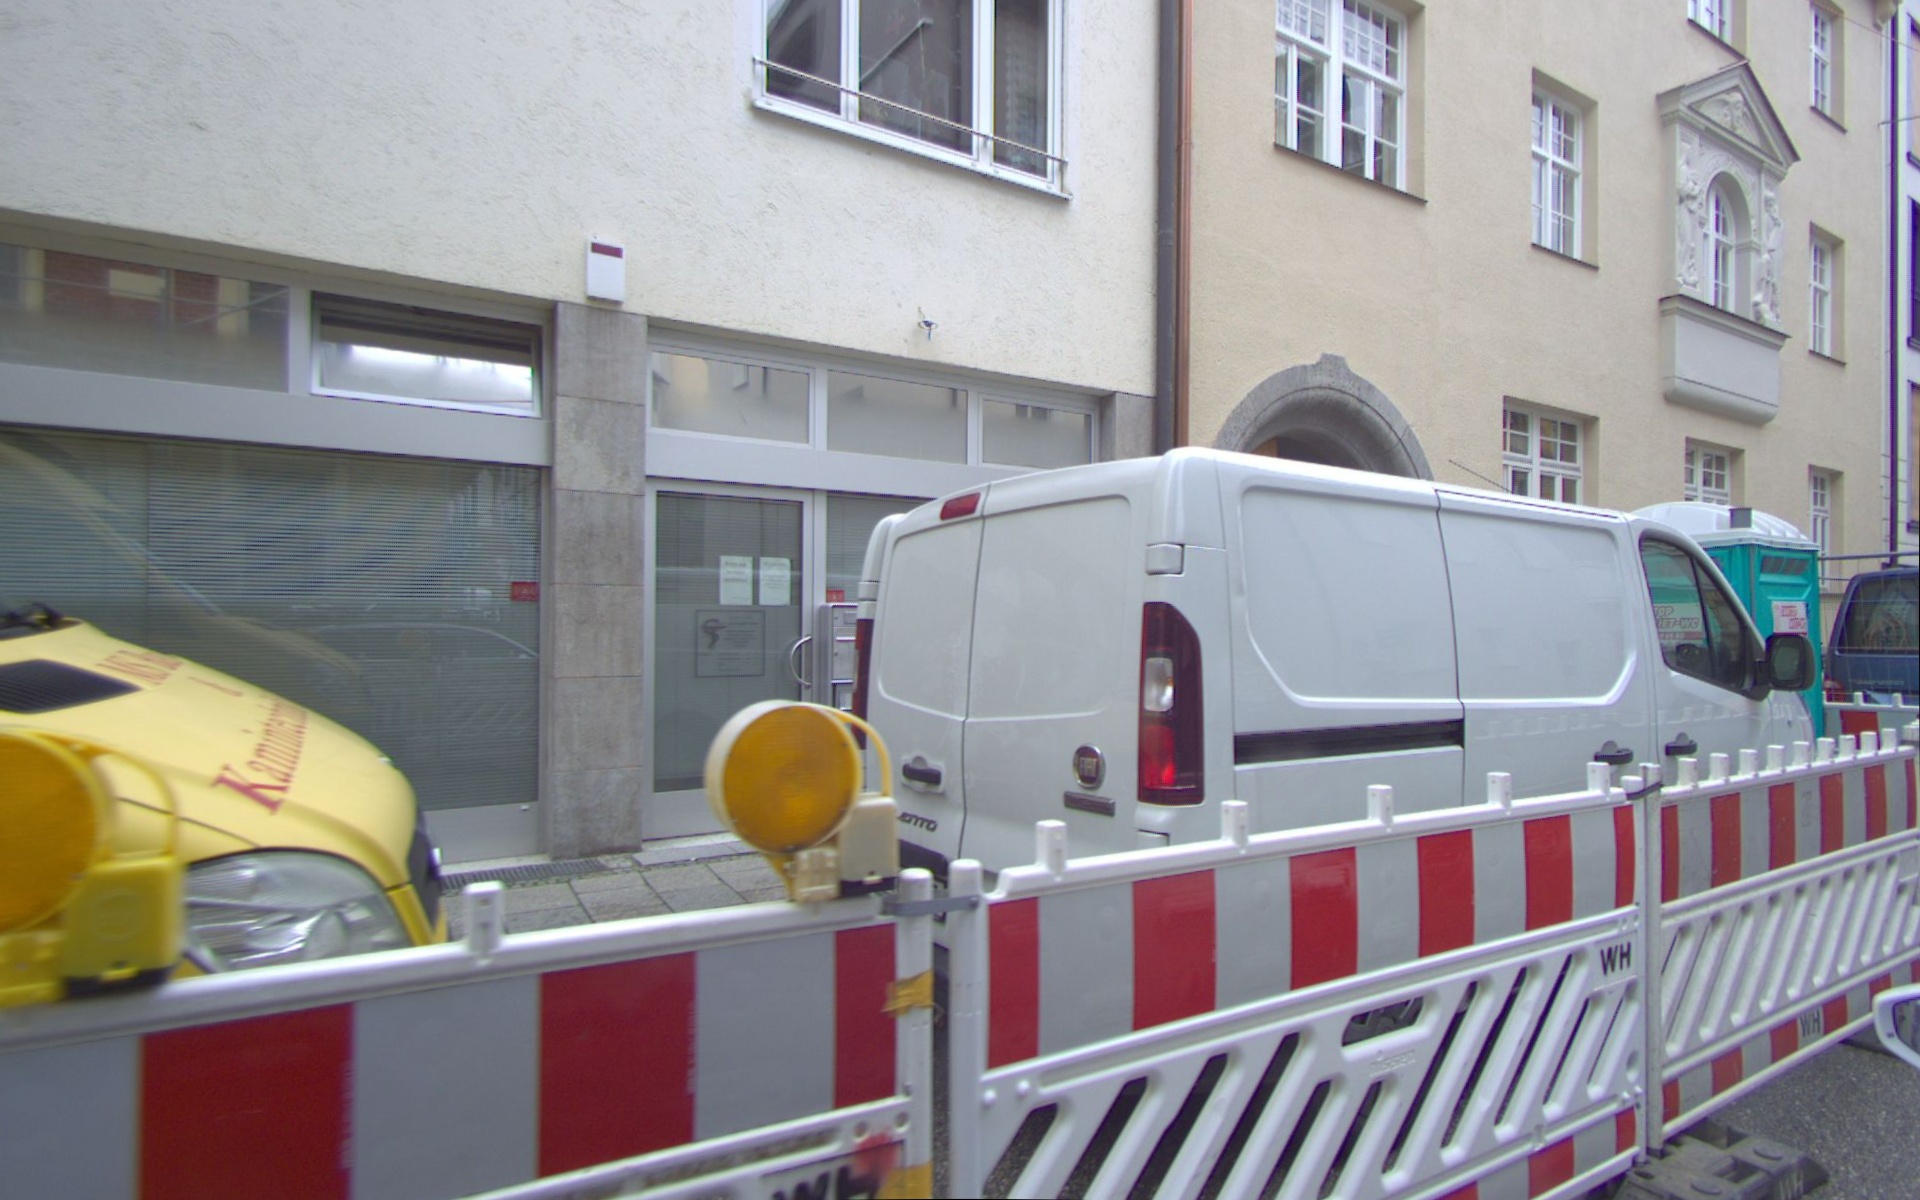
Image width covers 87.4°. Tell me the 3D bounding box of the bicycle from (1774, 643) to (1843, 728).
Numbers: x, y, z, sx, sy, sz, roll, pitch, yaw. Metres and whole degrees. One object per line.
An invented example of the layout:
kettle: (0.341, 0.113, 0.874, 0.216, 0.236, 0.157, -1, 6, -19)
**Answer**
bicycle: (11.369, 1.123, 13.444, 1.376, 1.065, 0.302, 1, 1, -34)

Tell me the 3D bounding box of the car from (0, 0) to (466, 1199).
car: (-4.129, 0.114, 0.651, 6.664, 2.613, 1.982, 1, -1, -33)

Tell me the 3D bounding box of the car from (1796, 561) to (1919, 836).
car: (9.125, 0.735, 8.364, 5.448, 1.922, 1.718, 1, -3, -32)

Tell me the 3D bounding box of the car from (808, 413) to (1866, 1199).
car: (1.897, 0.619, 4.380, 4.740, 1.922, 1.906, 1, -3, -34)
